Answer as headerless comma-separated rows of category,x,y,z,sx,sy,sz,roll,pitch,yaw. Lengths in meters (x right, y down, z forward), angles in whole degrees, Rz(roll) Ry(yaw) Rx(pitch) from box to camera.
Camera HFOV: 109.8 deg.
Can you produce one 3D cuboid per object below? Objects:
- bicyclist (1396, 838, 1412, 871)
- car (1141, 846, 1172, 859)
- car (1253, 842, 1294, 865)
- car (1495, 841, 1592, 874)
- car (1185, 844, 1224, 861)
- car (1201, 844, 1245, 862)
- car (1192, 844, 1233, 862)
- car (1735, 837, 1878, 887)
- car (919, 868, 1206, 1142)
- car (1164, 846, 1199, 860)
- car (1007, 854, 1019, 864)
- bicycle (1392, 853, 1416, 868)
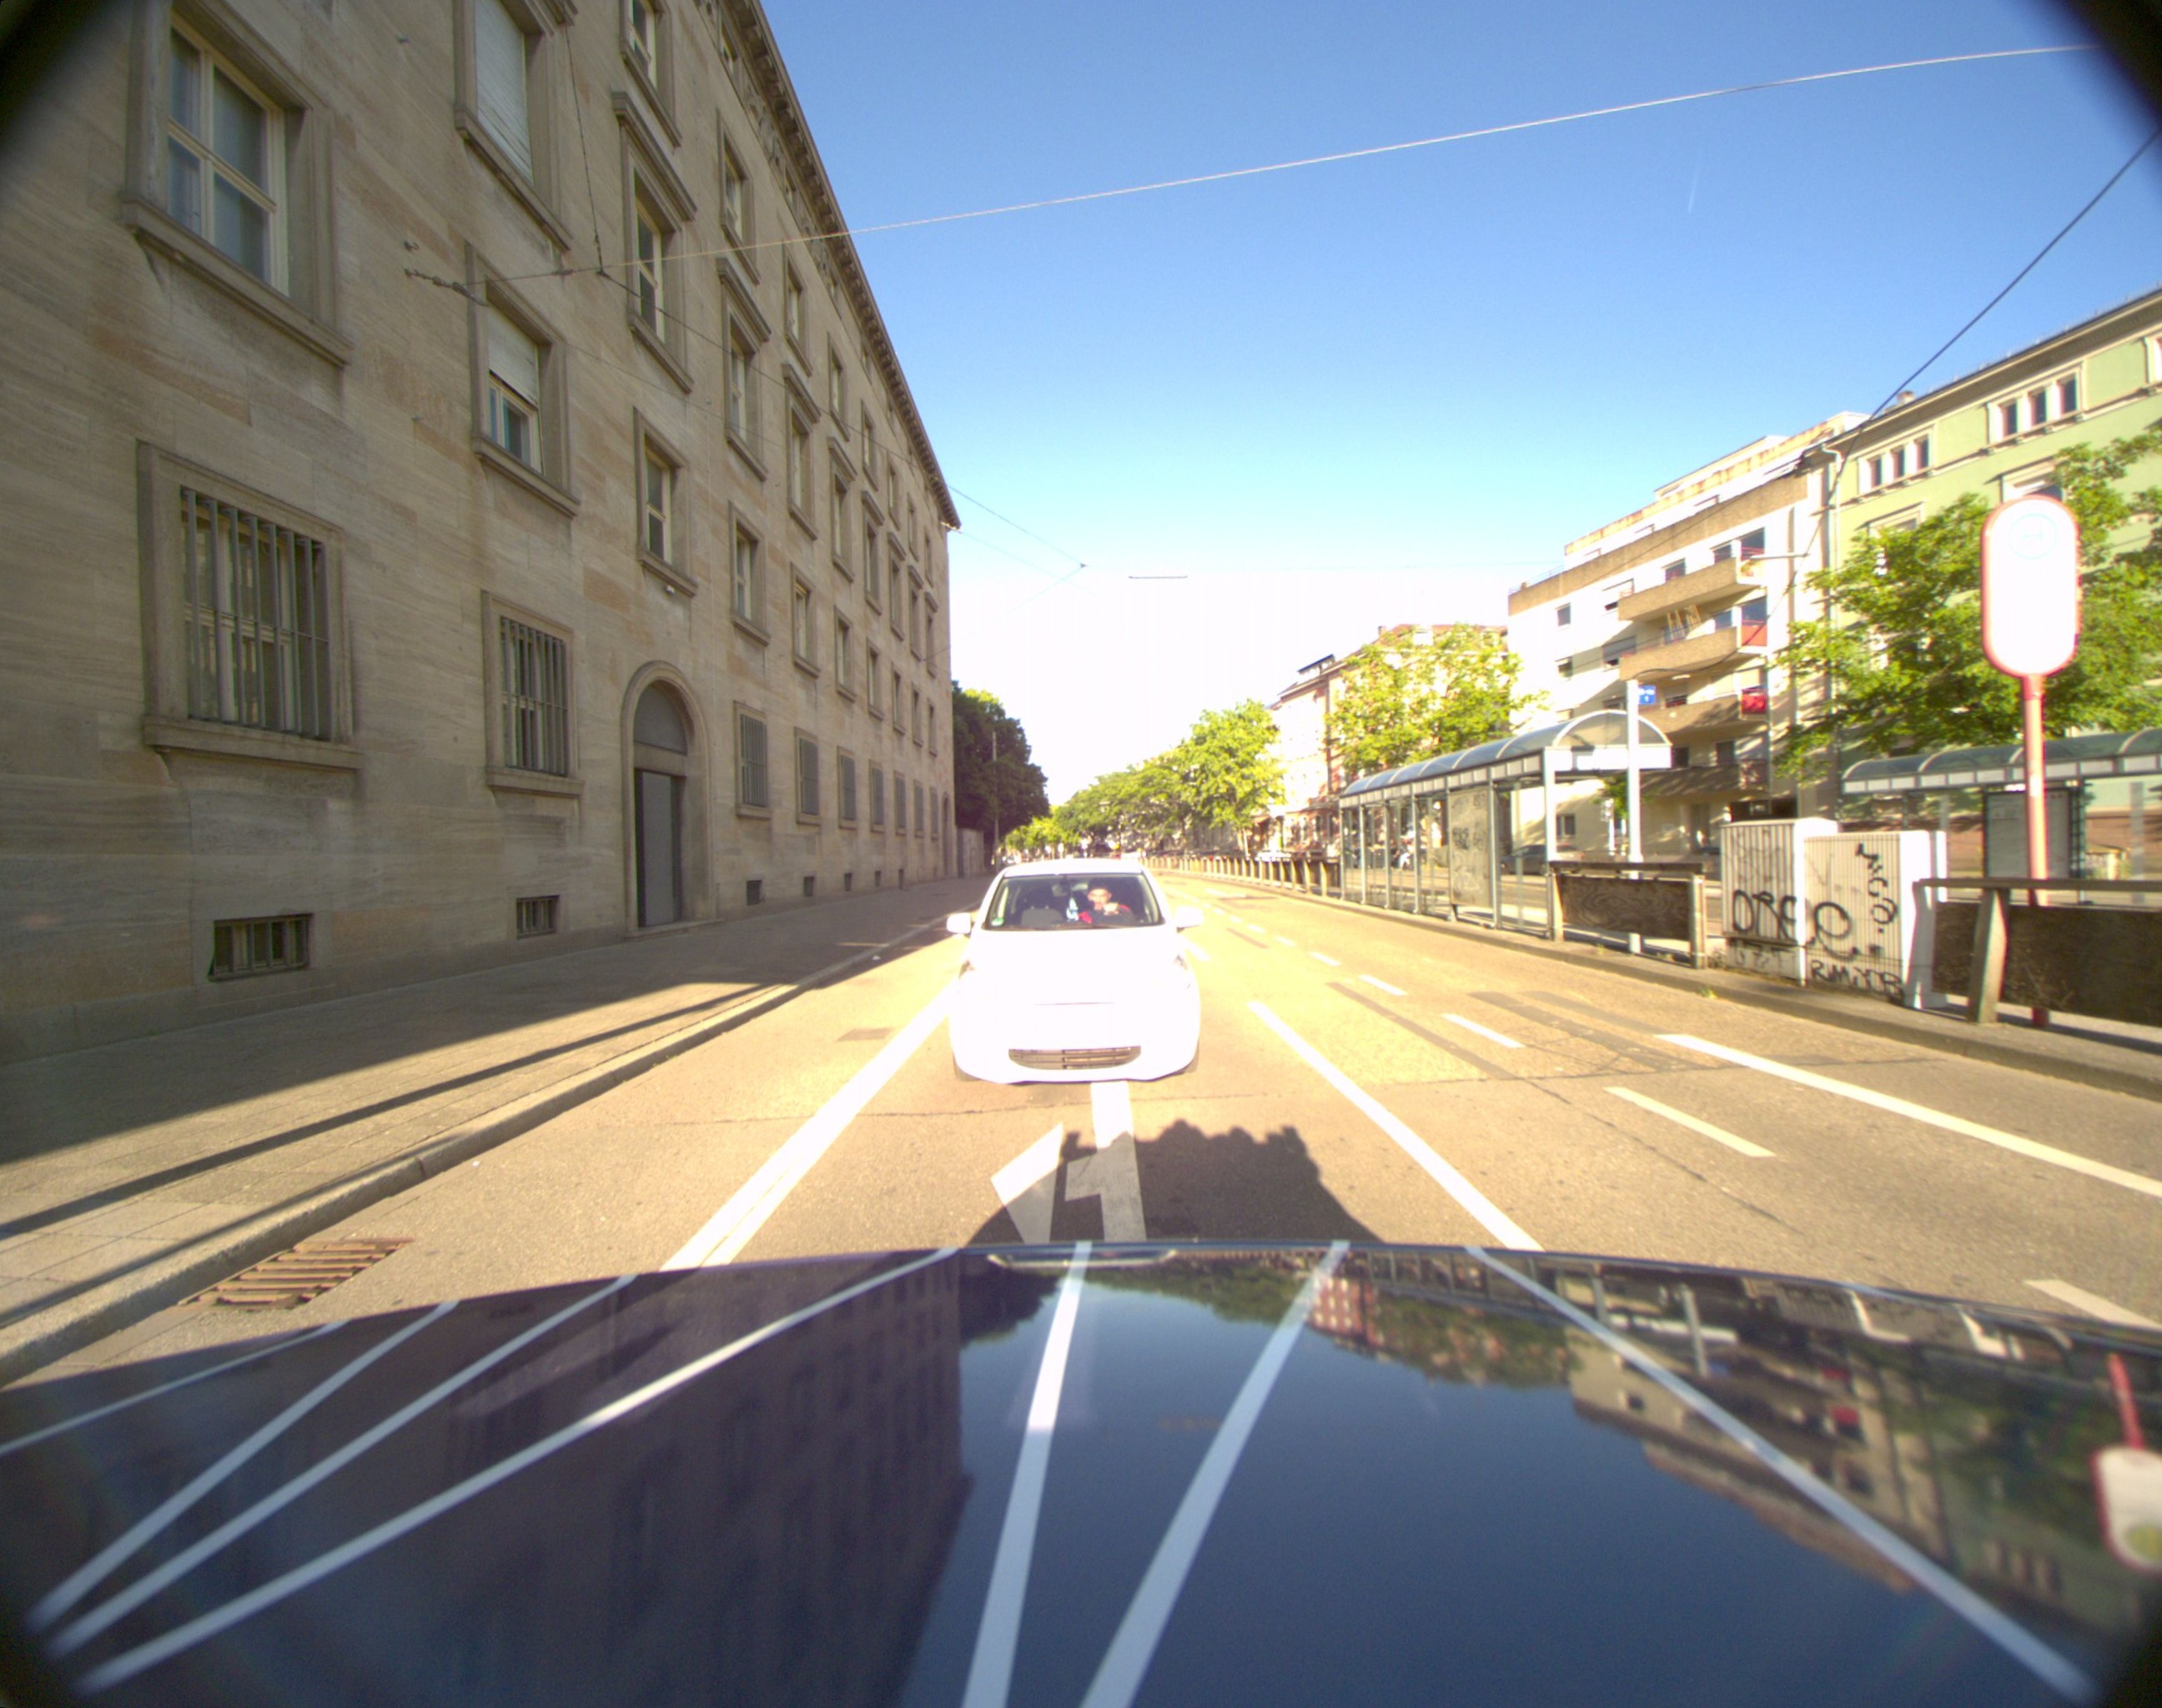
bicyclist,17.567,0.039,41.355,0.536,1.750,0.771,-1,0,1
car,9.543,-0.146,96.236,3.864,1.583,2.000,-1,1,4
car,16.290,-0.052,64.200,1.994,1.713,4.007,0,3,34
car,20.837,0.163,34.359,1.615,1.387,3.516,-1,0,-19
car,13.139,-0.164,81.051,3.996,1.674,2.000,-1,1,4
car,13.620,-0.102,73.114,3.996,1.674,2.000,-1,1,4
car,13.333,-0.126,77.248,3.996,1.674,2.000,-1,1,4
car,23.928,0.231,25.076,3.796,1.526,1.772,-1,1,-17
car,-0.081,0.898,6.173,1.612,1.450,3.667,-1,0,1
car,11.417,-0.113,86.611,3.864,1.583,2.001,-1,1,5
car,-12.806,0.969,143.063,2.000,1.761,3.996,-1,0,-9
bicycle,17.569,0.375,41.372,0.536,0.782,1.853,-1,-1,1
